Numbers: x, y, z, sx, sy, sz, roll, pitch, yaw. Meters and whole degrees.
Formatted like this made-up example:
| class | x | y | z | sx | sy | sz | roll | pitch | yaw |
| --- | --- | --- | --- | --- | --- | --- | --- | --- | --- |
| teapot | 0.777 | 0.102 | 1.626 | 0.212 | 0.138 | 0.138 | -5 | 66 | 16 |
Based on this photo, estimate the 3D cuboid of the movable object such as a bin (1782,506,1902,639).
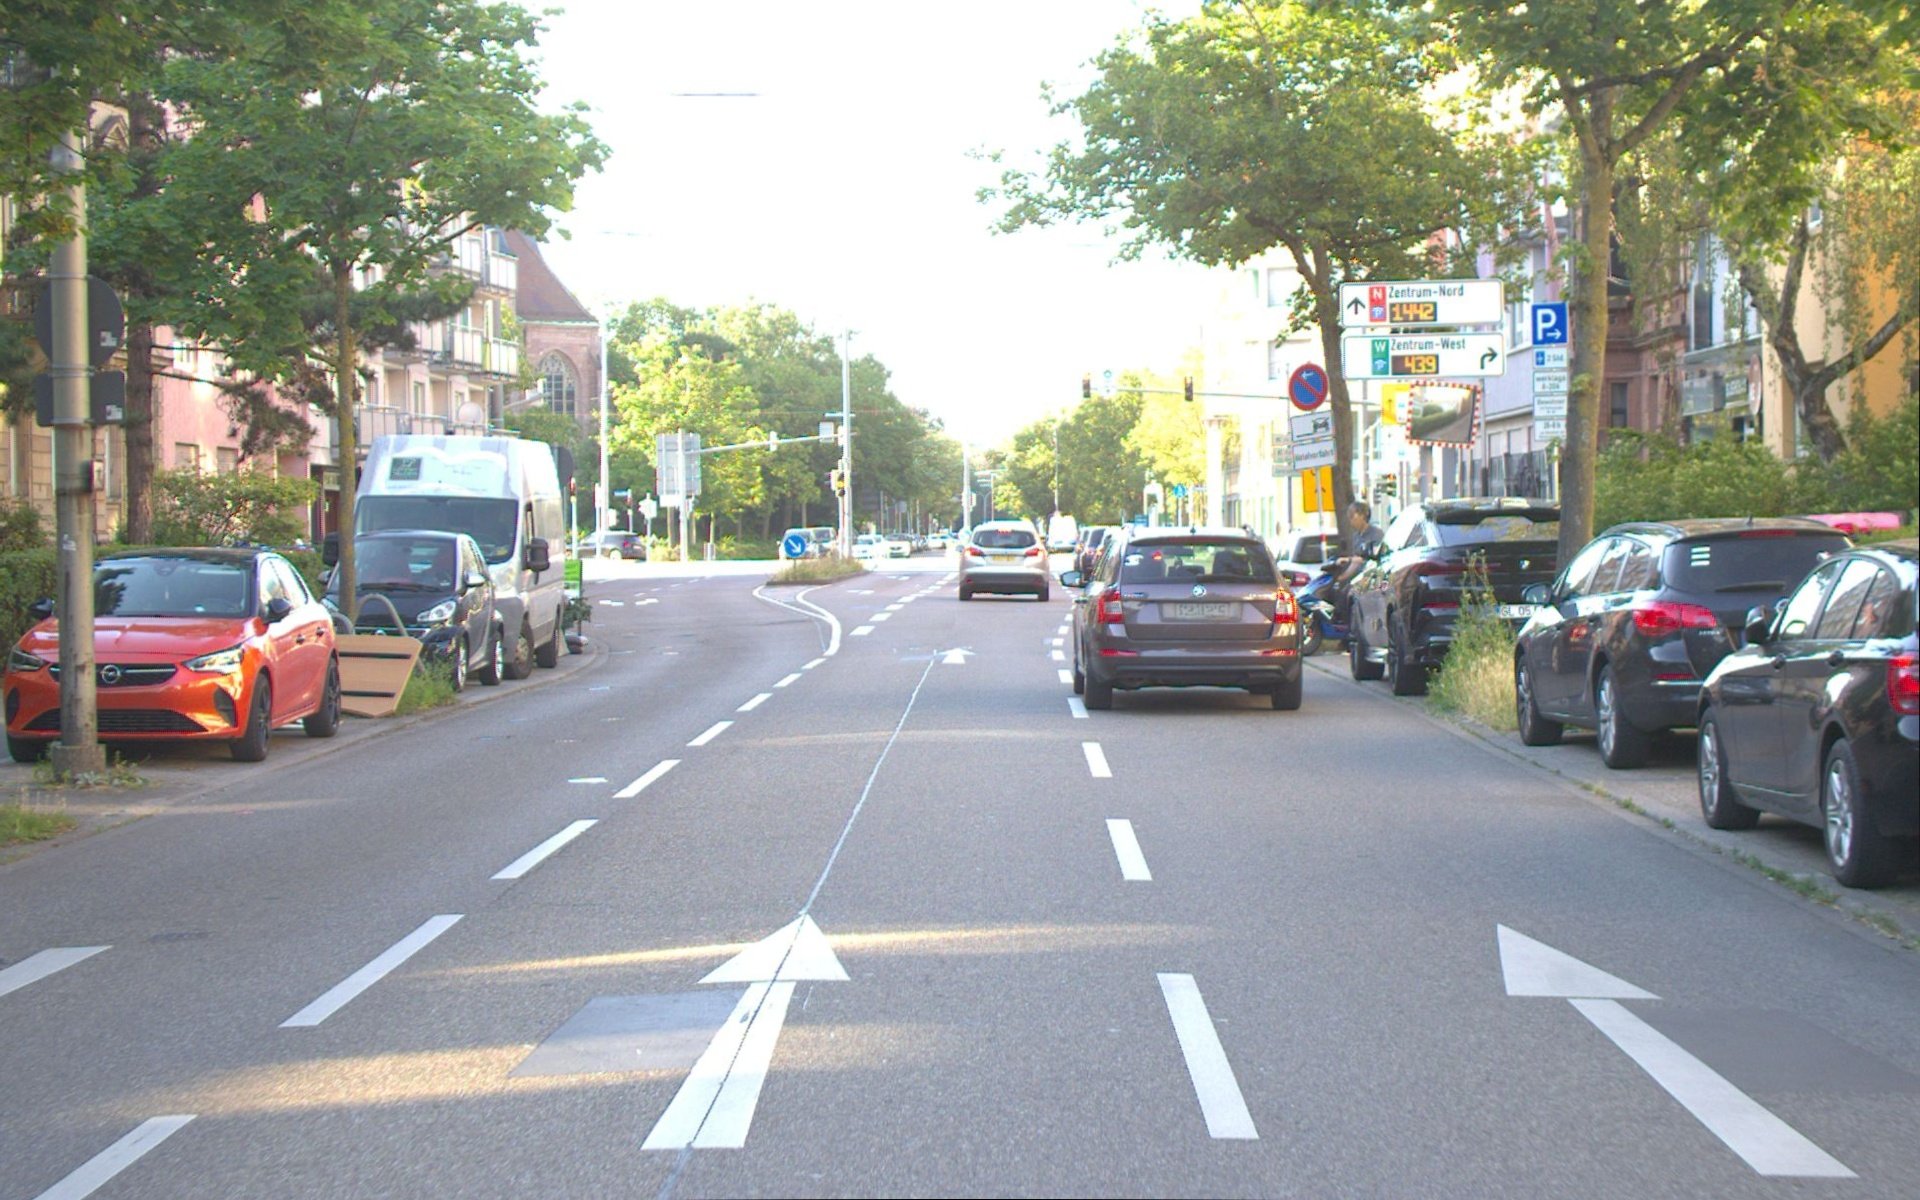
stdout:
| class | x | y | z | sx | sy | sz | roll | pitch | yaw |
| --- | --- | --- | --- | --- | --- | --- | --- | --- | --- |
| movable object such as a bin | 9.764 | -0.313 | 38.024 | 1.253 | 1.436 | 0.994 | -1 | 1 | 15 |

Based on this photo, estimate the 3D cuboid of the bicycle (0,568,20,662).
| class | x | y | z | sx | sy | sz | roll | pitch | yaw |
| --- | --- | --- | --- | --- | --- | --- | --- | --- | --- |
| bicycle | -10.534 | 0.128 | 34.681 | 1.936 | 0.922 | 0.582 | 1 | 1 | 2 |

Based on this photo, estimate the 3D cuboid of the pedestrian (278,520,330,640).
| class | x | y | z | sx | sy | sz | roll | pitch | yaw |
| --- | --- | --- | --- | --- | --- | --- | --- | --- | --- |
| pedestrian | -9.126 | -0.282 | 47.855 | 0.604 | 1.646 | 0.697 | -1 | 1 | -5 |

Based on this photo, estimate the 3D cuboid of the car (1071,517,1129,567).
| class | x | y | z | sx | sy | sz | roll | pitch | yaw |
| --- | --- | --- | --- | --- | --- | --- | --- | --- | --- |
| car | 4.121 | -1.733 | 101.688 | 1.584 | 1.441 | 3.648 | 1 | 1 | 1 |

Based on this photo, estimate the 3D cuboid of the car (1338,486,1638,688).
| class | x | y | z | sx | sy | sz | roll | pitch | yaw |
| --- | --- | --- | --- | --- | --- | --- | --- | --- | --- |
| car | 4.654 | -0.166 | 30.981 | 1.948 | 1.649 | 4.796 | -1 | 1 | 0 |

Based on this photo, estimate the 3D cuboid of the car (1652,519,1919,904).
| class | x | y | z | sx | sy | sz | roll | pitch | yaw |
| --- | --- | --- | --- | --- | --- | --- | --- | --- | --- |
| car | 4.466 | 0.376 | 15.566 | 1.770 | 1.443 | 4.485 | -2 | 1 | 1 |

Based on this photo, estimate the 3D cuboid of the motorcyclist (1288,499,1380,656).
| class | x | y | z | sx | sy | sz | roll | pitch | yaw |
| --- | --- | --- | --- | --- | --- | --- | --- | --- | --- |
| motorcyclist | 4.281 | -0.263 | 39.403 | 0.736 | 1.772 | 1.088 | -1 | 0 | -11 |

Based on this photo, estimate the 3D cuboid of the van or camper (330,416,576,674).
| class | x | y | z | sx | sy | sz | roll | pitch | yaw |
| --- | --- | --- | --- | --- | --- | --- | --- | --- | --- |
| van or camper | -5.644 | -0.641 | 39.018 | 2.035 | 2.654 | 6.017 | 1 | 1 | -2 |

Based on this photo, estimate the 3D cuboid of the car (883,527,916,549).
| class | x | y | z | sx | sy | sz | roll | pitch | yaw |
| --- | --- | --- | --- | --- | --- | --- | --- | --- | --- |
| car | -3.633 | -3.723 | 205.405 | 1.780 | 1.232 | 4.000 | -1 | 2 | 2 |

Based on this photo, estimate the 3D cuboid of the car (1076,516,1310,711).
| class | x | y | z | sx | sy | sz | roll | pitch | yaw |
| --- | --- | --- | --- | --- | --- | --- | --- | --- | --- |
| car | 1.847 | 0.052 | 28.290 | 1.707 | 1.452 | 4.158 | 1 | 2 | 1 |

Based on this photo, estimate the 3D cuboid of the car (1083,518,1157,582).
| class | x | y | z | sx | sy | sz | roll | pitch | yaw |
| --- | --- | --- | --- | --- | --- | --- | --- | --- | --- |
| car | 3.834 | -1.231 | 82.880 | 1.650 | 1.479 | 4.239 | 0 | 2 | 1 |

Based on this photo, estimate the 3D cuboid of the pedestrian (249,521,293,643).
| class | x | y | z | sx | sy | sz | roll | pitch | yaw |
| --- | --- | --- | --- | --- | --- | --- | --- | --- | --- |
| pedestrian | -9.423 | -0.253 | 47.017 | 0.480 | 1.646 | 0.725 | -1 | 1 | -5 |

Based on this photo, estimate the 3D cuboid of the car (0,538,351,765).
| class | x | y | z | sx | sy | sz | roll | pitch | yaw |
| --- | --- | --- | --- | --- | --- | --- | --- | --- | --- |
| car | -5.590 | 0.303 | 24.650 | 1.717 | 1.447 | 3.923 | 0 | 2 | 1 |

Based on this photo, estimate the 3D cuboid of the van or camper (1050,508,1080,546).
| class | x | y | z | sx | sy | sz | roll | pitch | yaw |
| --- | --- | --- | --- | --- | --- | --- | --- | --- | --- |
| van or camper | 7.579 | -5.261 | 247.587 | 1.994 | 2.631 | 5.350 | -1 | 1 | 3 |

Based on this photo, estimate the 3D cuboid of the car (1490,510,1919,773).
| class | x | y | z | sx | sy | sz | roll | pitch | yaw |
| --- | --- | --- | --- | --- | --- | --- | --- | --- | --- |
| car | 4.656 | 0.180 | 22.021 | 1.716 | 1.467 | 4.432 | -2 | 1 | -1 |

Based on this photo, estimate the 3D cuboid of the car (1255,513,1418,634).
| class | x | y | z | sx | sy | sz | roll | pitch | yaw |
| --- | --- | --- | --- | --- | --- | --- | --- | --- | --- |
| car | 5.115 | -0.401 | 47.207 | 1.856 | 1.507 | 4.834 | -2 | 1 | 2 |

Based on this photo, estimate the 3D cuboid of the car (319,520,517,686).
| class | x | y | z | sx | sy | sz | roll | pitch | yaw |
| --- | --- | --- | --- | --- | --- | --- | --- | --- | --- |
| car | -5.327 | -0.005 | 34.048 | 1.404 | 1.543 | 2.762 | 1 | 1 | 2 |

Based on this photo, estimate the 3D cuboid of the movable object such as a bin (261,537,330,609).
| class | x | y | z | sx | sy | sz | roll | pitch | yaw |
| --- | --- | --- | --- | --- | --- | --- | --- | --- | --- |
| movable object such as a bin | -10.079 | -0.414 | 52.154 | 0.867 | 1.047 | 0.769 | 2 | 1 | 0 |

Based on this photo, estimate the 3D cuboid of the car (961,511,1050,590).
| class | x | y | z | sx | sy | sz | roll | pitch | yaw |
| --- | --- | --- | --- | --- | --- | --- | --- | --- | --- |
| car | 0.908 | -1.001 | 67.929 | 1.707 | 1.504 | 4.309 | 0 | 2 | 1 |

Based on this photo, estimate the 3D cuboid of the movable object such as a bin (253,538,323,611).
| class | x | y | z | sx | sy | sz | roll | pitch | yaw |
| --- | --- | --- | --- | --- | --- | --- | --- | --- | --- |
| movable object such as a bin | -10.026 | -0.379 | 51.283 | 0.867 | 1.047 | 0.769 | 2 | 1 | 0 |

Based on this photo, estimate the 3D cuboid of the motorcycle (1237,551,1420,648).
| class | x | y | z | sx | sy | sz | roll | pitch | yaw |
| --- | --- | --- | --- | --- | --- | --- | --- | --- | --- |
| motorcycle | 4.227 | -0.014 | 39.506 | 1.925 | 1.067 | 0.820 | -1 | 1 | -11 |

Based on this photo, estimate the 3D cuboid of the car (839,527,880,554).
| class | x | y | z | sx | sy | sz | roll | pitch | yaw |
| --- | --- | --- | --- | --- | --- | --- | --- | --- | --- |
| car | -4.899 | -2.928 | 168.378 | 1.780 | 1.232 | 4.000 | -1 | 2 | 2 |
